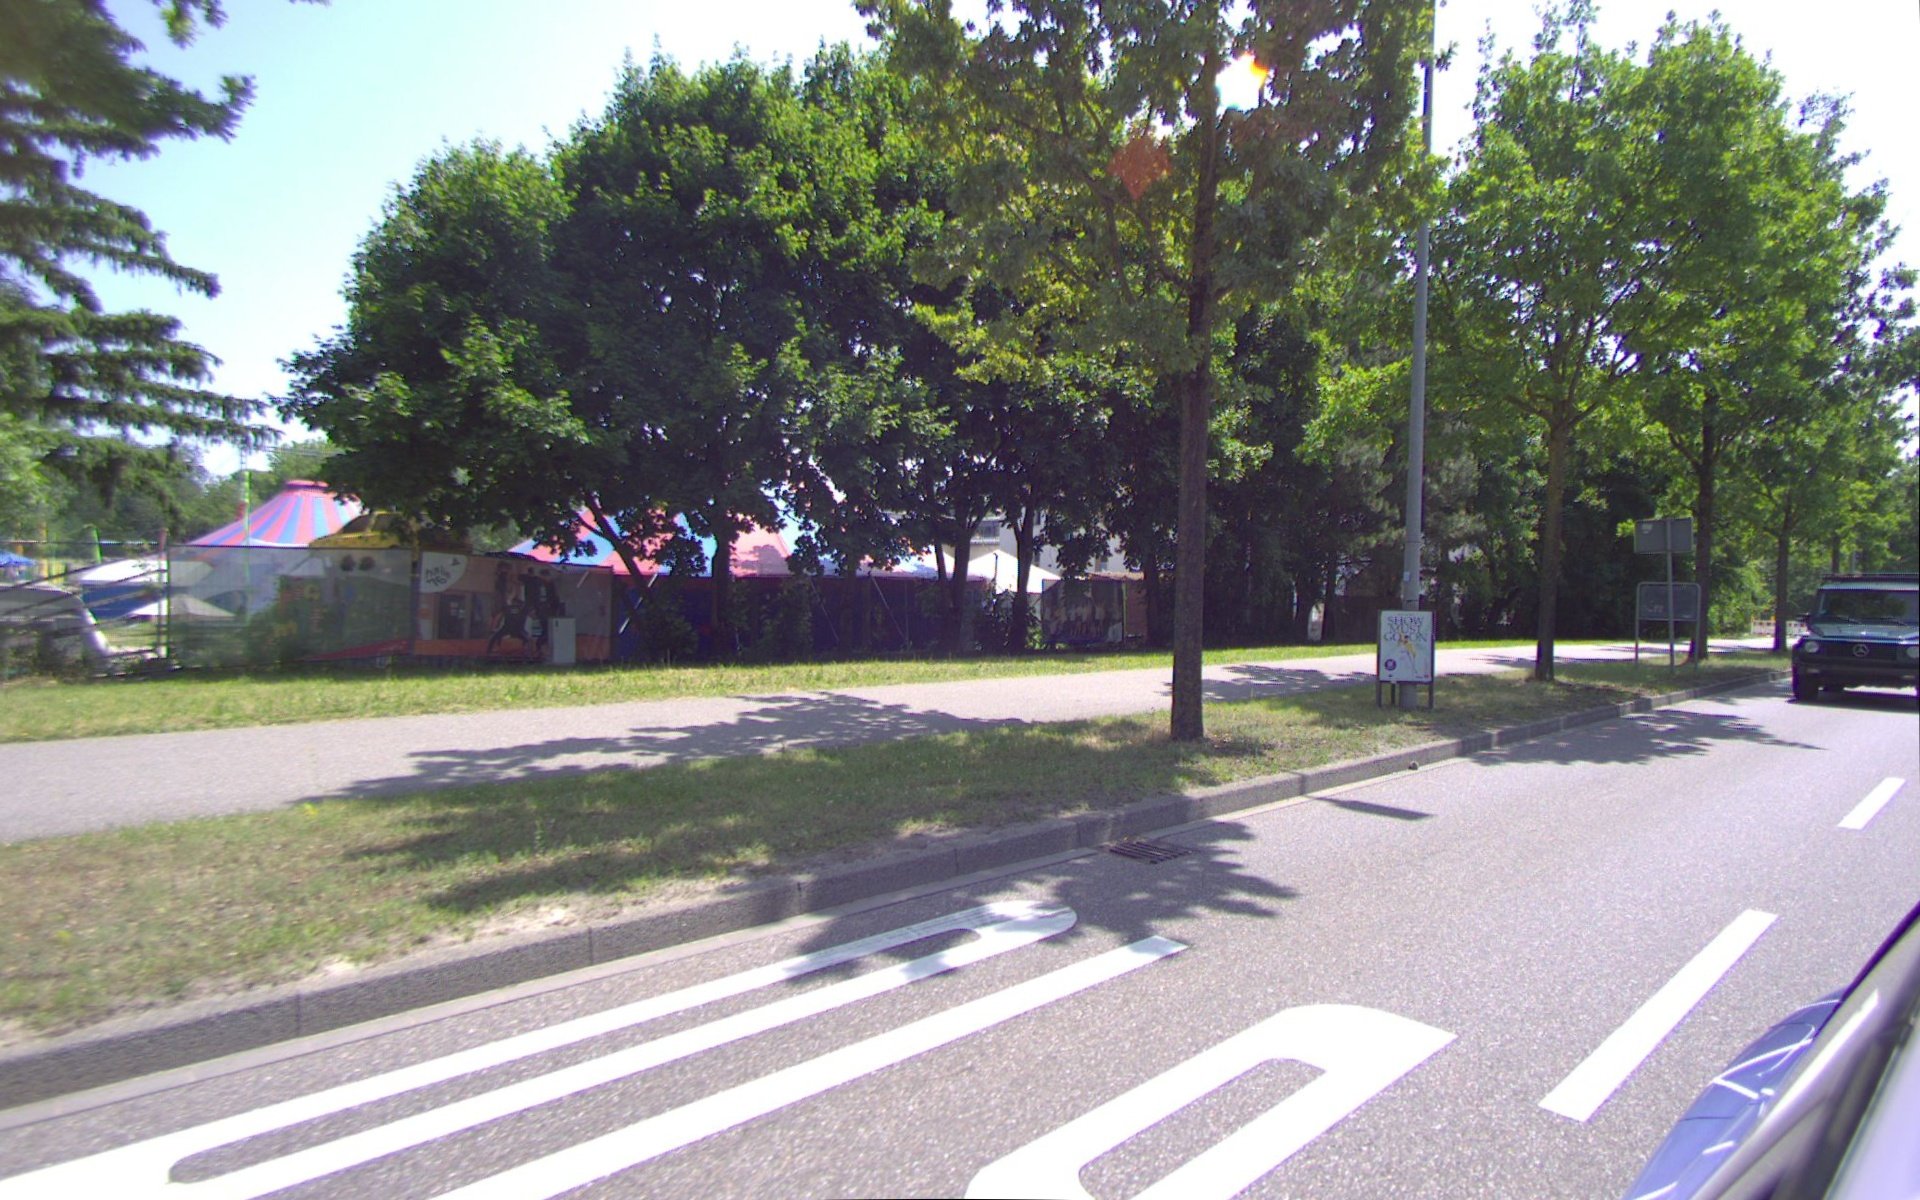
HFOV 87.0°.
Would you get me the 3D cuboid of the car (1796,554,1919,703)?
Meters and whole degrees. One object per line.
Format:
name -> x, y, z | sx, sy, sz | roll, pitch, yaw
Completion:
car -> 15.353, 0.423, 16.654 | 4.480, 2.180, 1.839 | 1, 1, -42
